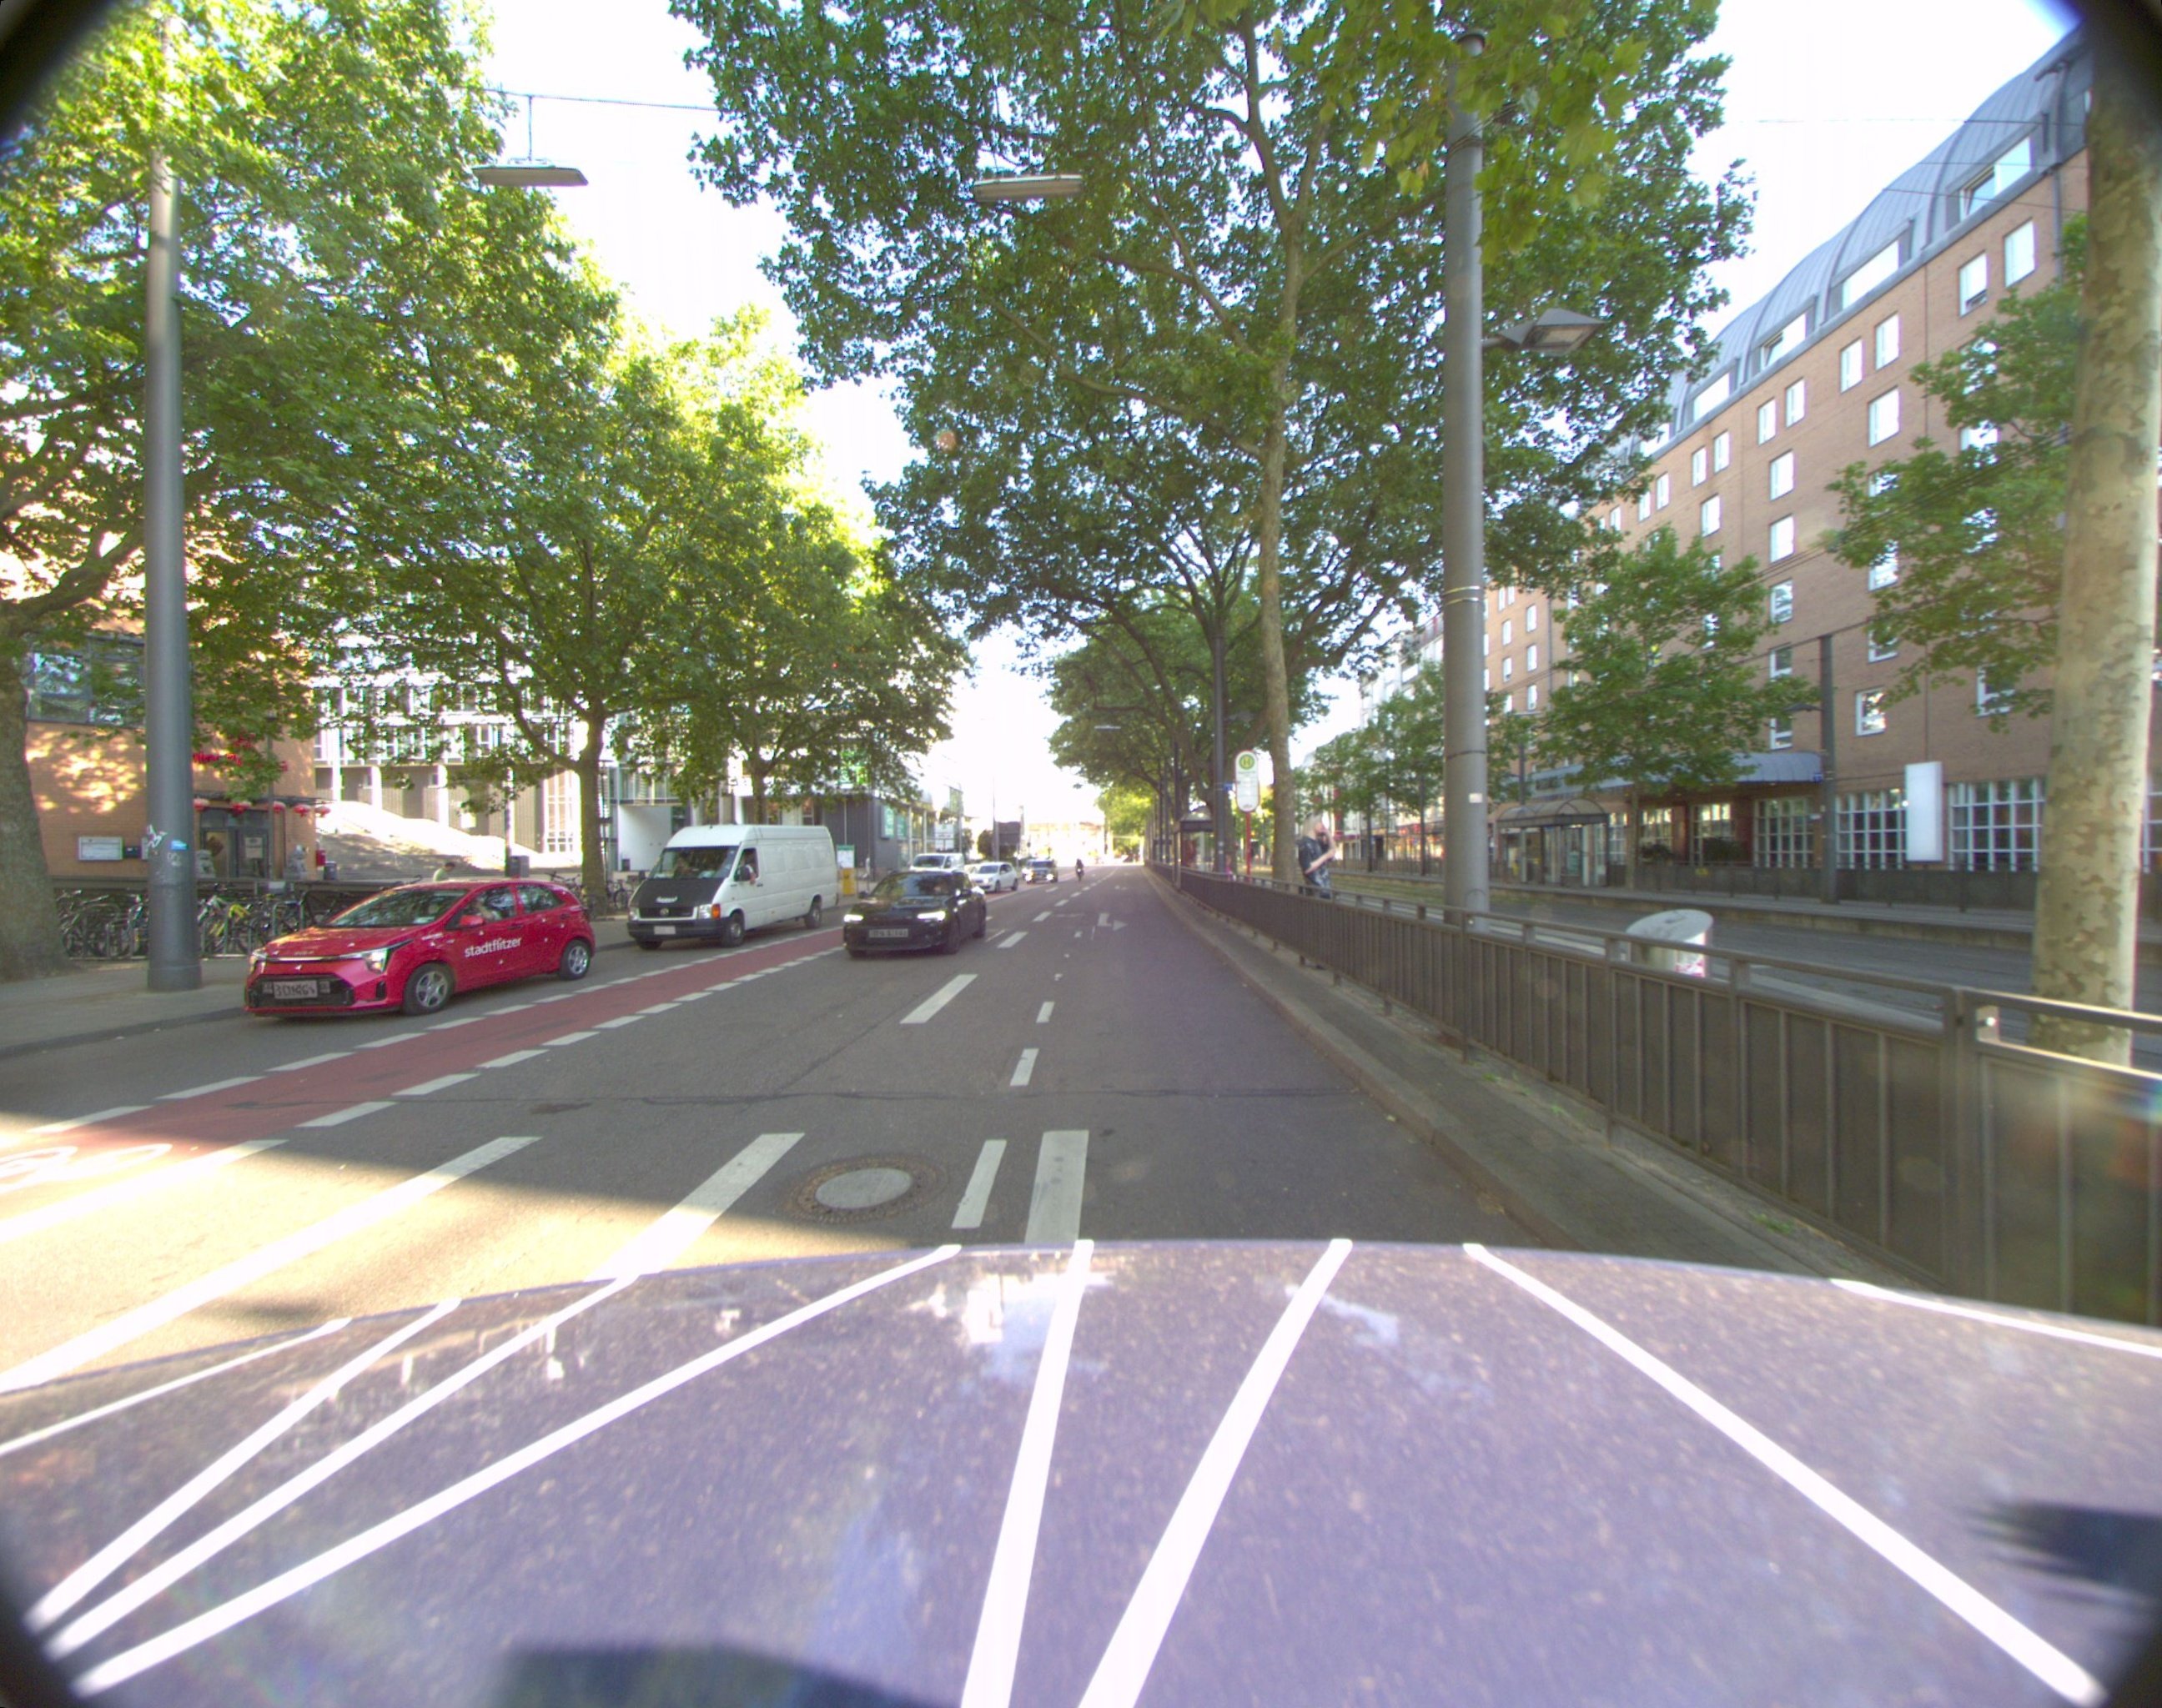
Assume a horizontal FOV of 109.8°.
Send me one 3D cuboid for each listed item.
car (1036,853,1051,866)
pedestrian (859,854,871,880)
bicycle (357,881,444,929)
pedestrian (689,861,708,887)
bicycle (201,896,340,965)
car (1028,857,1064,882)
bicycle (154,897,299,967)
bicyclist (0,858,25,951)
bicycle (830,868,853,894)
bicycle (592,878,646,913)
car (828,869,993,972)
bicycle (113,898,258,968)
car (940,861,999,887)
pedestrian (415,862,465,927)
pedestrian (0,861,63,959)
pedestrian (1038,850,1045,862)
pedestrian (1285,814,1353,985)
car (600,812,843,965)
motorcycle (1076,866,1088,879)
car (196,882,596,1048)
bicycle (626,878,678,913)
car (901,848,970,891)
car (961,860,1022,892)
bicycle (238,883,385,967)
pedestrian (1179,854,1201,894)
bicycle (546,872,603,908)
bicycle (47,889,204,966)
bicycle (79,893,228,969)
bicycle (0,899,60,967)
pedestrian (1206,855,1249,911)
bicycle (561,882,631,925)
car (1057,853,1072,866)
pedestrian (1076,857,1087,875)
[{"bbox_3d":[-5.431,0.787,110.665,1.999,1.856,3.999,-2,1,-1],"label":"car"},{"bbox_3d":[-14.388,0.859,50.524,0.541,1.666,0.721,-1,1,-35],"label":"pedestrian"},{"bbox_3d":[-17.701,1.304,19.810,0.596,1.119,1.656,0,0,9],"label":"bicycle"},{"bbox_3d":[-21.431,1.123,42.550,0.712,1.447,0.601,0,1,4],"label":"pedestrian"},{"bbox_3d":[-13.878,1.278,13.084,0.597,1.026,1.655,0,0,1],"label":"bicycle"},{"bbox_3d":[-2.396,1.011,52.470,1.784,1.628,4.024,0,0,8],"label":"car"},{"bbox_3d":[-14.637,1.306,13.080,0.597,1.026,1.655,0,0,1],"label":"bicycle"},{"bbox_3d":[-18.902,0.874,13.072,0.562,1.607,0.823,0,1,34],"label":"bicyclist"},{"bbox_3d":[-11.356,1.257,36.029,0.514,1.151,1.540,-1,0,3],"label":"bicycle"},{"bbox_3d":[-14.802,1.320,24.398,0.597,1.041,1.655,0,0,4],"label":"bicycle"},{"bbox_3d":[-2.877,1.063,13.858,1.827,1.416,4.346,-2,0,2],"label":"car"},{"bbox_3d":[-15.339,1.322,13.087,0.503,1.026,1.655,0,0,1],"label":"bicycle"},{"bbox_3d":[-6.735,1.192,46.209,1.783,1.411,4.028,0,0,21],"label":"car"},{"bbox_3d":[-16.326,1.008,19.370,0.718,1.622,0.636,0,1,7],"label":"pedestrian"},{"bbox_3d":[-19.877,1.016,14.025,0.788,1.747,1.020,0,1,6],"label":"pedestrian"},{"bbox_3d":[-4.952,0.263,95.892,0.753,1.565,0.912,-1,1,6],"label":"pedestrian"},{"bbox_3d":[2.758,0.504,8.860,0.511,1.889,0.760,-2,1,2],"label":"pedestrian"},{"bbox_3d":[-7.558,0.626,17.069,1.998,2.708,6.562,-2,0,2],"label":"car"},{"bbox_3d":[0.085,1.255,52.596,0.667,0.843,2.223,0,0,4],"label":"motorcycle"},{"bbox_3d":[-7.953,1.171,9.349,1.562,1.455,3.621,-2,0,1],"label":"car"},{"bbox_3d":[-13.816,1.311,24.516,0.597,1.041,1.655,0,0,4],"label":"bicycle"},{"bbox_3d":[-7.600,0.783,40.316,2.127,2.121,5.292,0,0,6],"label":"car"},{"bbox_3d":[-4.356,1.030,37.450,1.669,1.455,3.873,0,0,15],"label":"car"},{"bbox_3d":[-13.199,1.178,13.123,0.597,1.257,1.876,0,0,1],"label":"bicycle"},{"bbox_3d":[3.993,0.727,27.829,0.735,1.379,0.640,-2,1,6],"label":"pedestrian"},{"bbox_3d":[-16.087,1.131,24.168,0.597,1.041,1.655,0,0,4],"label":"bicycle"},{"bbox_3d":[-16.442,1.230,13.141,0.479,1.153,1.694,0,0,5],"label":"bicycle"},{"bbox_3d":[-15.914,1.290,13.098,0.503,1.130,1.655,0,0,1],"label":"bicycle"},{"bbox_3d":[-18.963,1.393,12.980,0.566,1.119,1.782,0,1,34],"label":"bicycle"},{"bbox_3d":[3.776,0.736,19.640,0.979,1.392,0.664,-2,1,6],"label":"pedestrian"},{"bbox_3d":[-12.803,1.288,20.104,0.596,1.041,1.656,0,0,9],"label":"bicycle"},{"bbox_3d":[-2.430,0.798,110.990,1.998,1.681,3.999,-2,1,1],"label":"car"},{"bbox_3d":[0.048,0.817,52.340,0.665,1.218,0.775,0,1,4],"label":"pedestrian"}]
